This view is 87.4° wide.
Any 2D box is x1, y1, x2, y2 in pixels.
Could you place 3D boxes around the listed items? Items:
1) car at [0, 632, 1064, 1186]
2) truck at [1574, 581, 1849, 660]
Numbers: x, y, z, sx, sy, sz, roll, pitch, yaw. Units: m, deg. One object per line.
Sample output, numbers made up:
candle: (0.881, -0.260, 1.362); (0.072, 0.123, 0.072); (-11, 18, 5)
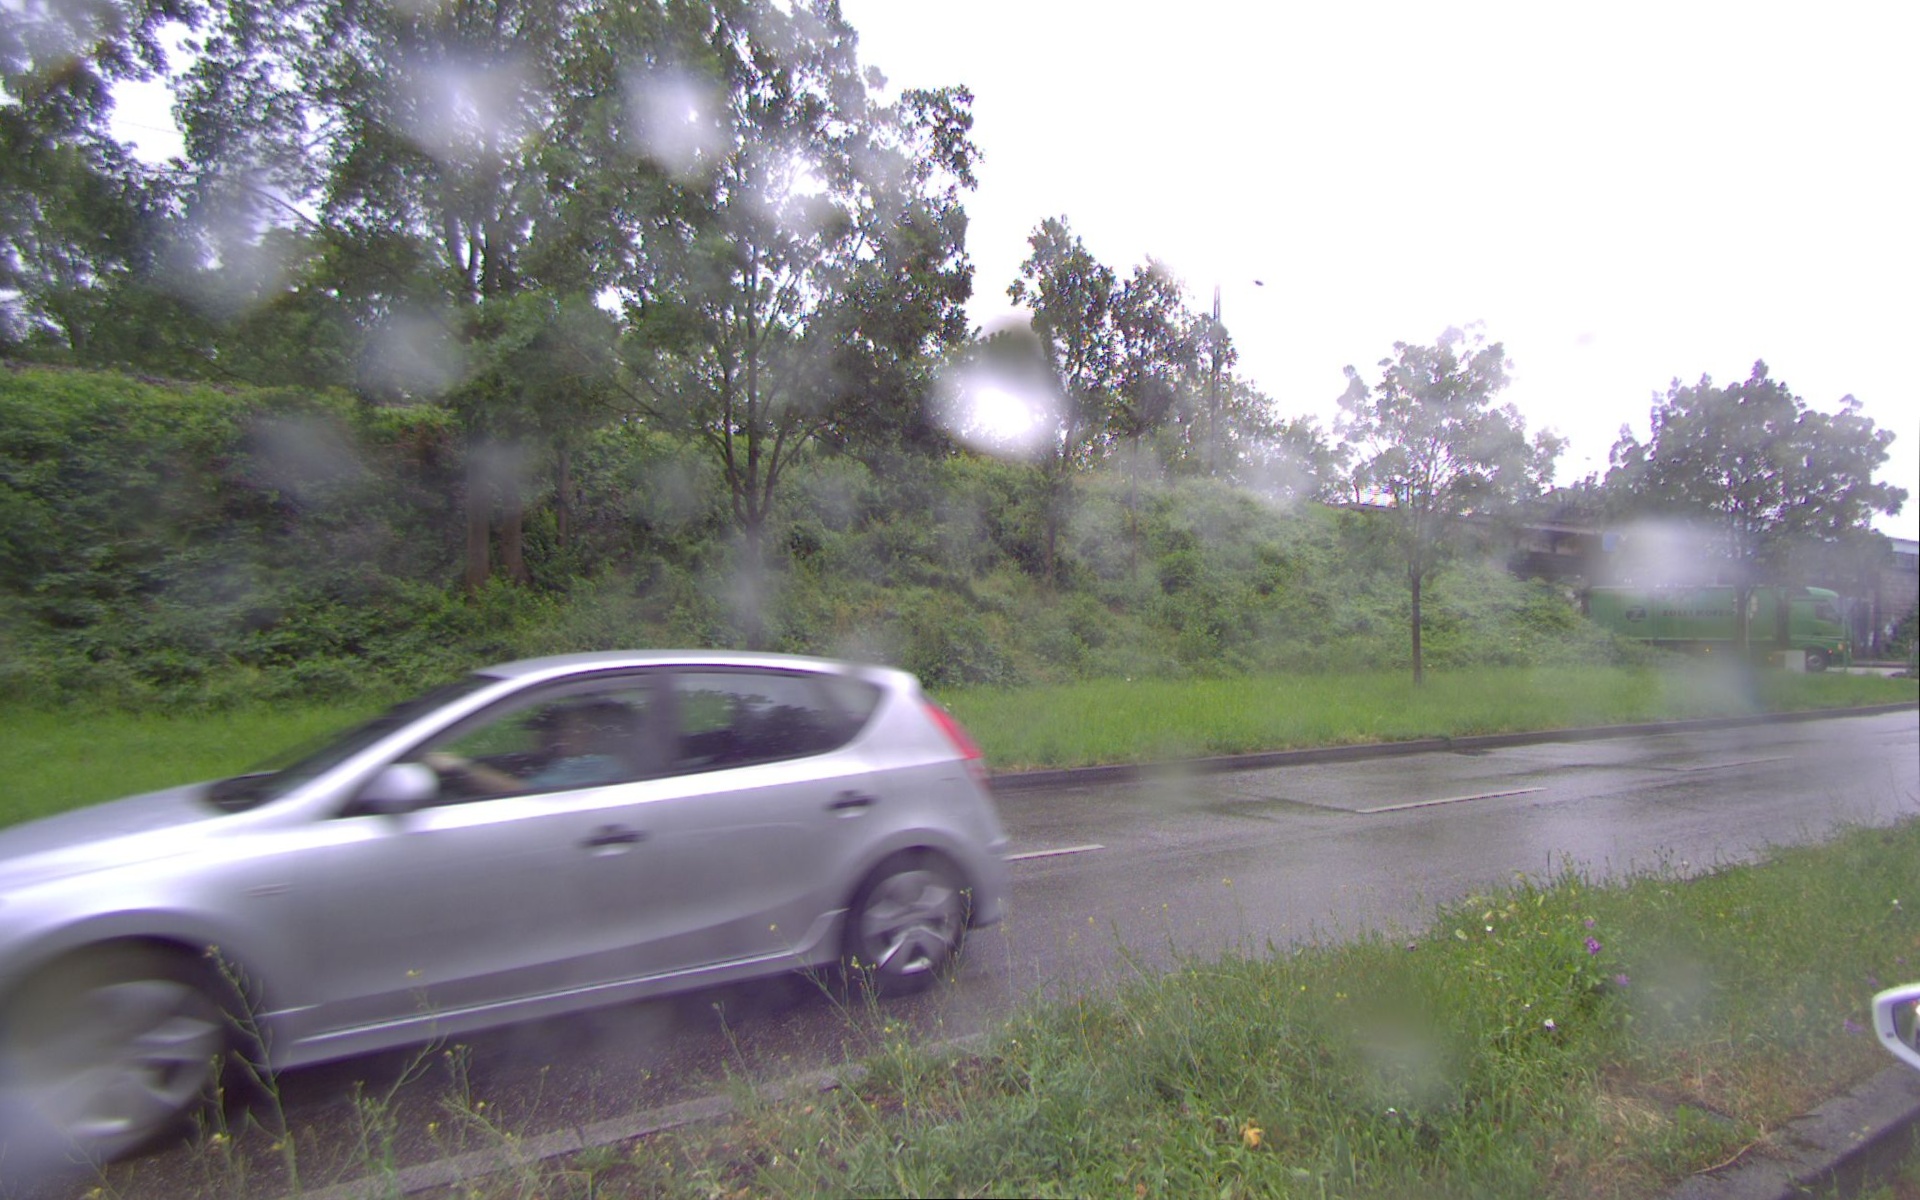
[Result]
car: (-1.678, 0.916, 4.332); (3.954, 1.481, 1.807); (2, -4, -31)
truck: (34.238, 0.877, 46.332); (9.872, 3.416, 2.346); (0, -1, 25)
